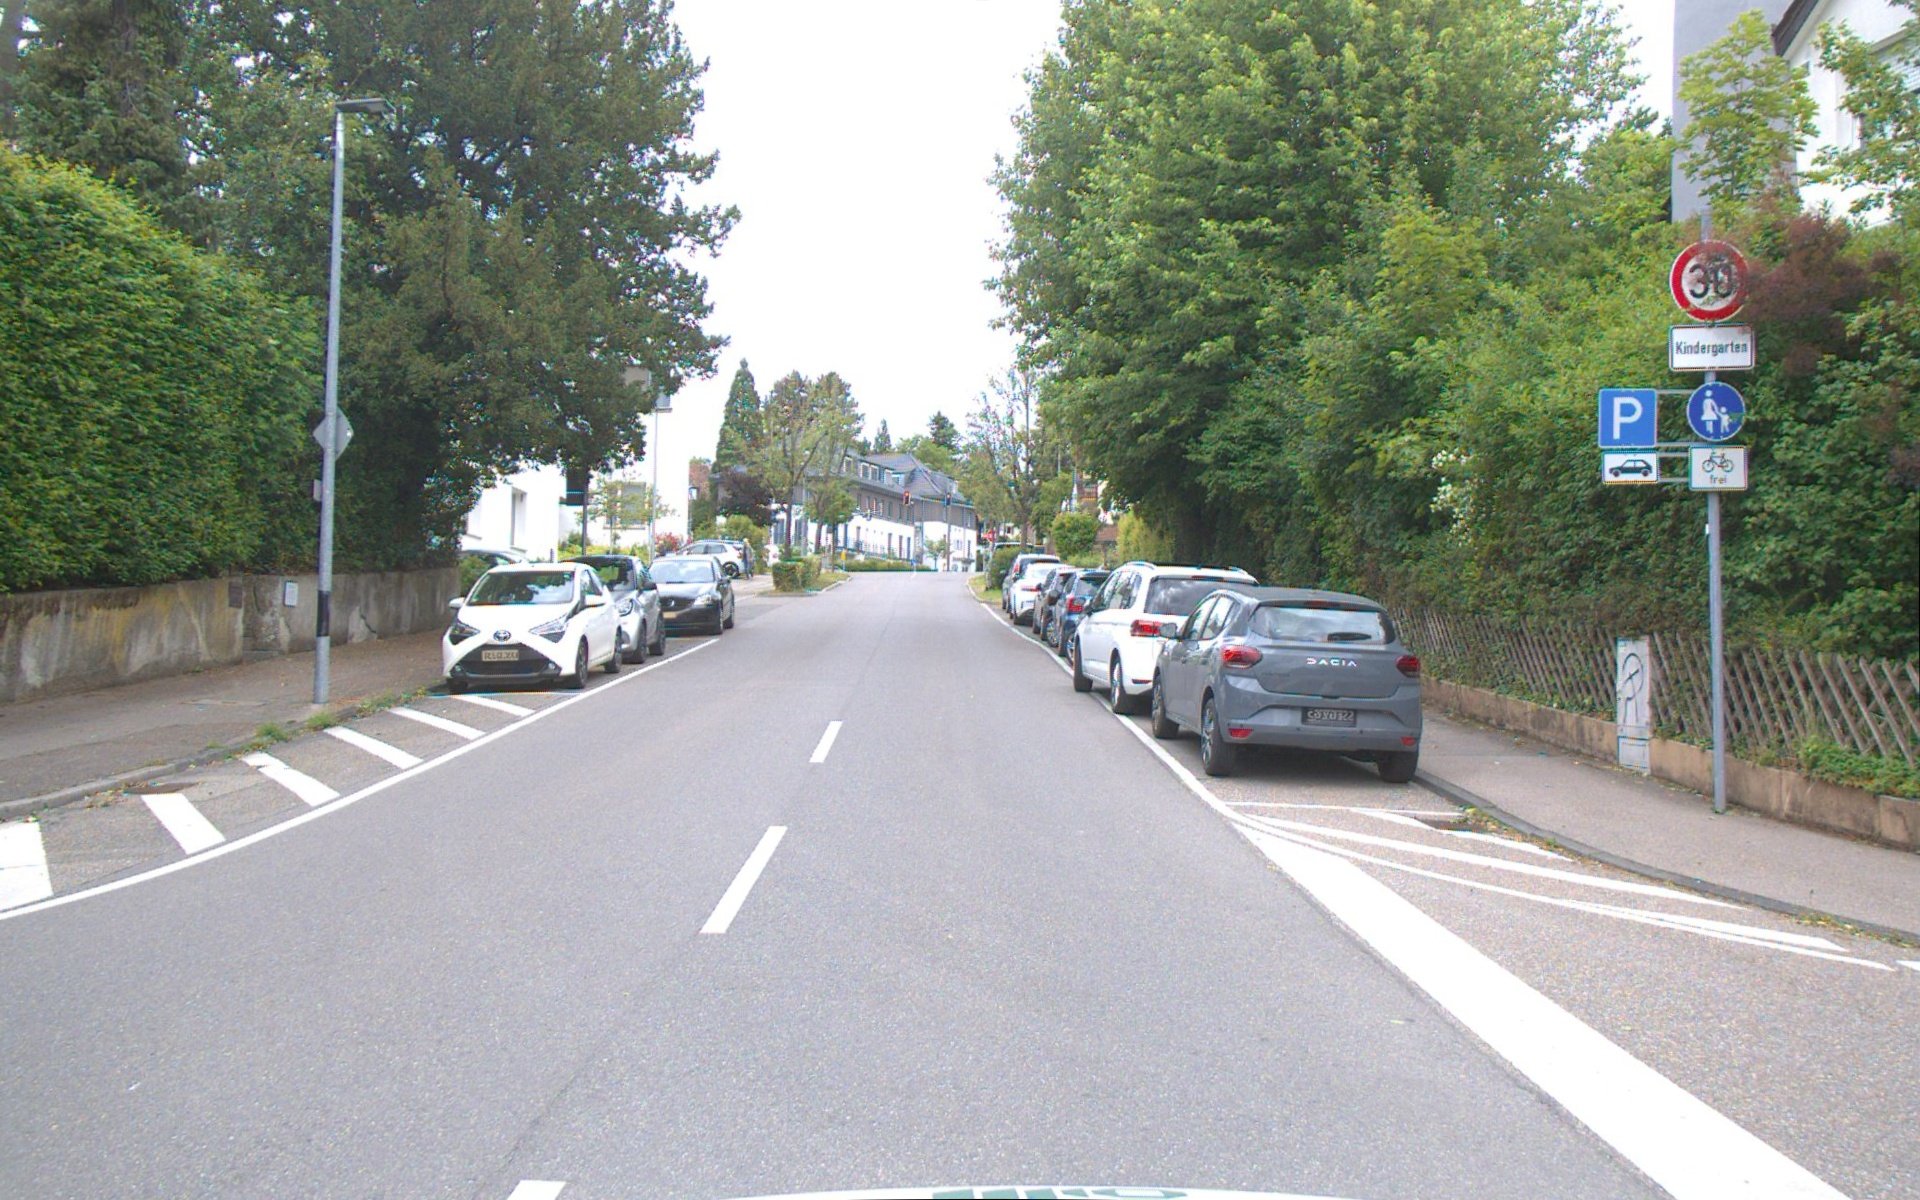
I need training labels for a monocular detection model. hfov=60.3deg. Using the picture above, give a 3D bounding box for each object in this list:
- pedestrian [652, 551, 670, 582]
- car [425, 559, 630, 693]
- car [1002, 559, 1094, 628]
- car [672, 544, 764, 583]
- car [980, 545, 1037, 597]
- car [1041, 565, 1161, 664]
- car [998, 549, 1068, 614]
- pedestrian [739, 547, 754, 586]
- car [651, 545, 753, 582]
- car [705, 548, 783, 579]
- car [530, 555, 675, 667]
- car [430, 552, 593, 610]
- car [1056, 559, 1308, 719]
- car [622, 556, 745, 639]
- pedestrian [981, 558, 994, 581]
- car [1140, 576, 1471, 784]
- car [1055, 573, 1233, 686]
[{"bbox_3d":[-12.936,-1.471,71.558,0.594,1.305,0.899,2,1,-1],"label":"pedestrian"},{"bbox_3d":[-5.240,0.257,20.463,1.709,1.473,3.513,0,2,-2],"label":"car"},{"bbox_3d":[2.076,-0.208,40.262,1.953,1.517,5.005,0,2,0],"label":"car"},{"bbox_3d":[-11.170,-1.711,76.463,3.905,1.682,2.009,2,1,0],"label":"car"},{"bbox_3d":[1.808,-1.129,62.858,1.897,1.869,5.219,1,2,-1],"label":"car"},{"bbox_3d":[2.438,0.198,29.495,1.663,1.534,4.160,3,2,-1],"label":"car"},{"bbox_3d":[2.014,-0.548,46.503,1.682,1.660,3.928,3,1,-1],"label":"car"},{"bbox_3d":[-9.348,-1.472,72.352,0.581,1.669,0.565,0,1,0],"label":"pedestrian"},{"bbox_3d":[-11.486,-1.647,73.816,4.298,1.593,2.066,0,2,-3],"label":"car"},{"bbox_3d":[-12.079,-2.030,92.638,4.176,1.651,2.012,0,0,-4],"label":"car"},{"bbox_3d":[-5.270,0.123,24.662,1.591,1.545,2.974,1,1,-2],"label":"car"},{"bbox_3d":[-11.230,-0.499,41.633,3.722,1.377,1.739,1,1,-7],"label":"car"},{"bbox_3d":[2.494,0.353,19.849,1.962,1.636,4.754,0,2,-6],"label":"car"},{"bbox_3d":[-5.337,-0.110,32.507,1.813,1.495,4.681,0,2,-2],"label":"car"},{"bbox_3d":[2.062,-2.299,125.342,0.673,1.711,0.697,2,1,37],"label":"pedestrian"},{"bbox_3d":[2.895,0.581,14.917,1.898,1.517,4.455,0,2,-2],"label":"car"},{"bbox_3d":[2.619,0.360,24.526,1.775,1.478,4.374,0,1,-5],"label":"car"}]
